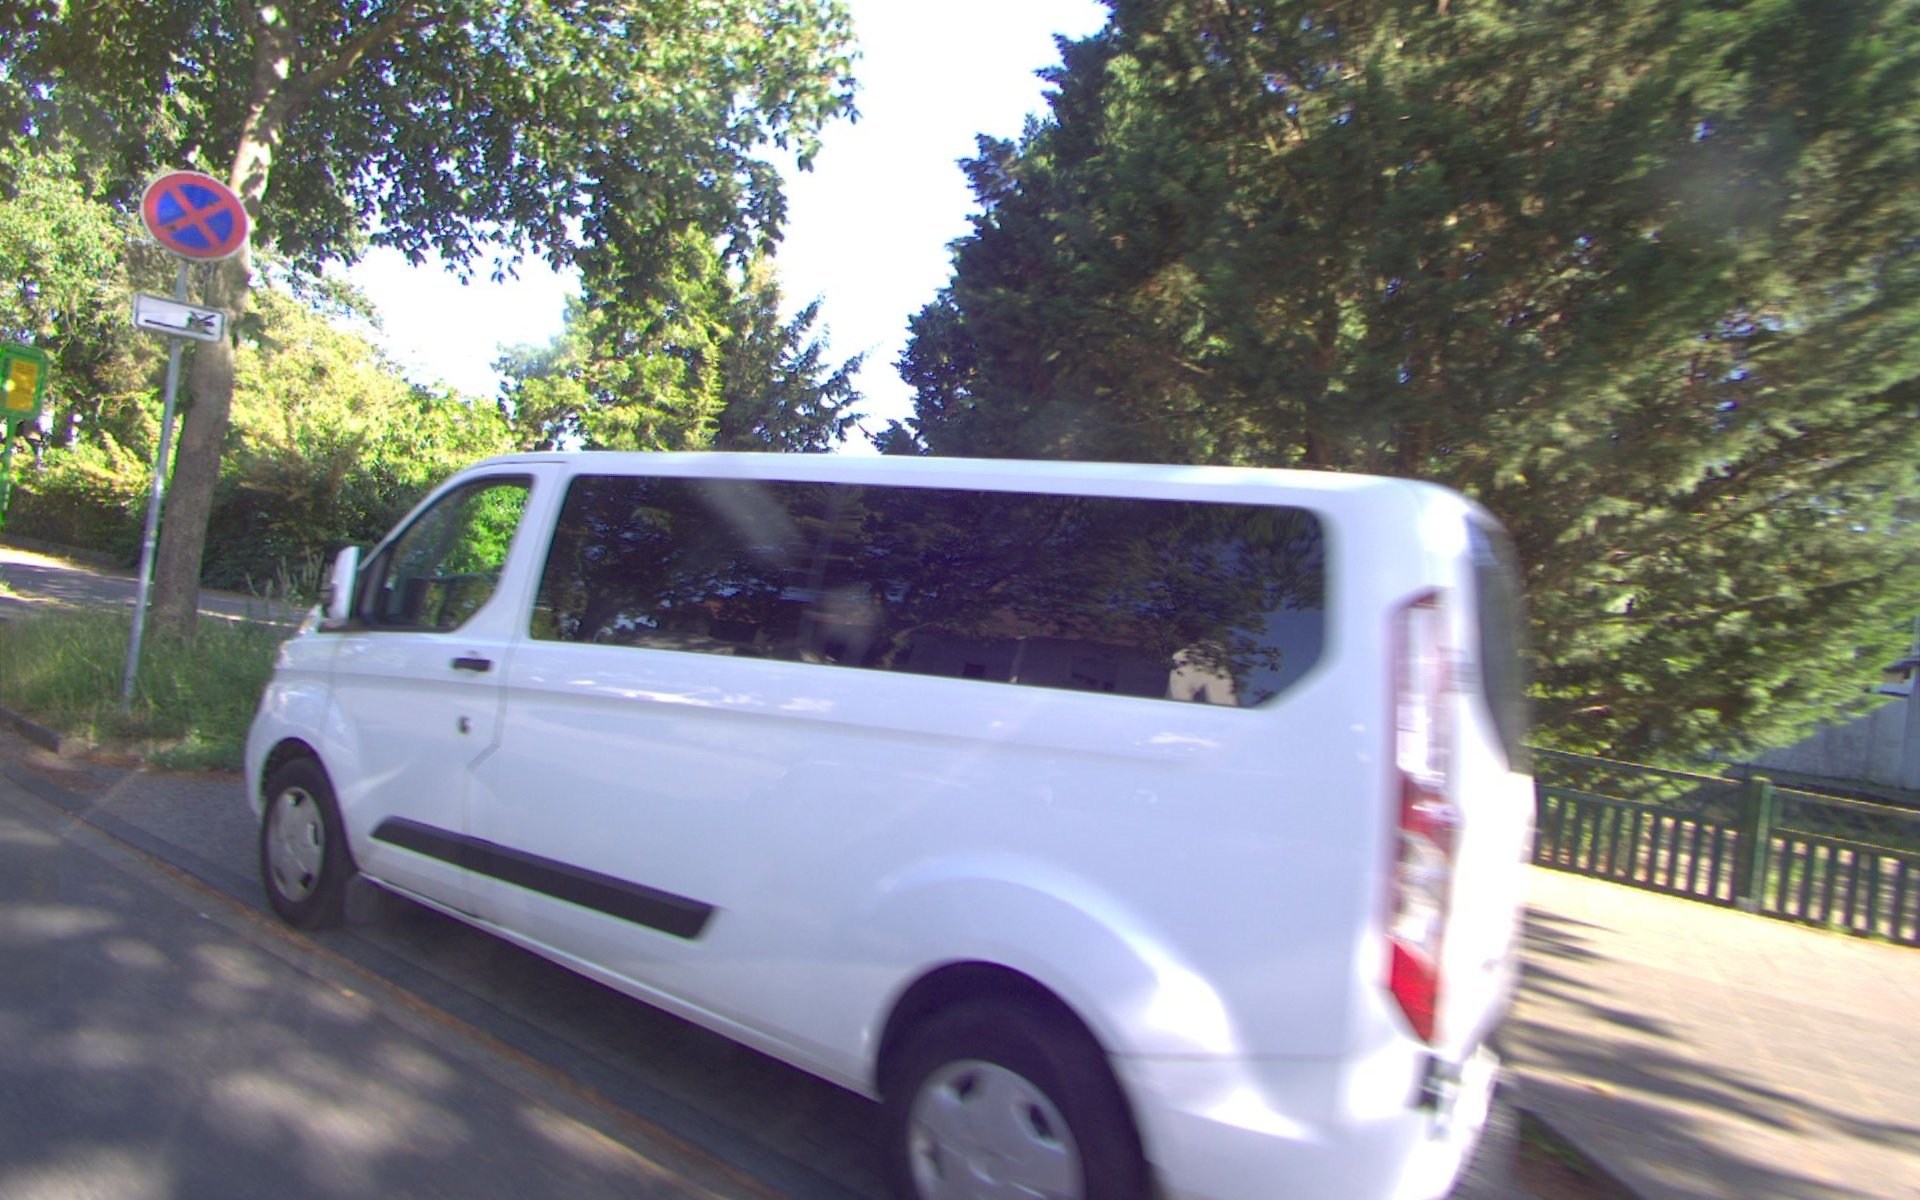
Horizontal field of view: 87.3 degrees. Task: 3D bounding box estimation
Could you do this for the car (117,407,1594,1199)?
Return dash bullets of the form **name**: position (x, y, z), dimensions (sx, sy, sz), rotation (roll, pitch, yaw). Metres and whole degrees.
- **car**: position (-0.737, 0.564, 3.904), dimensions (5.108, 2.034, 2.001), rotation (7, -4, 30)
